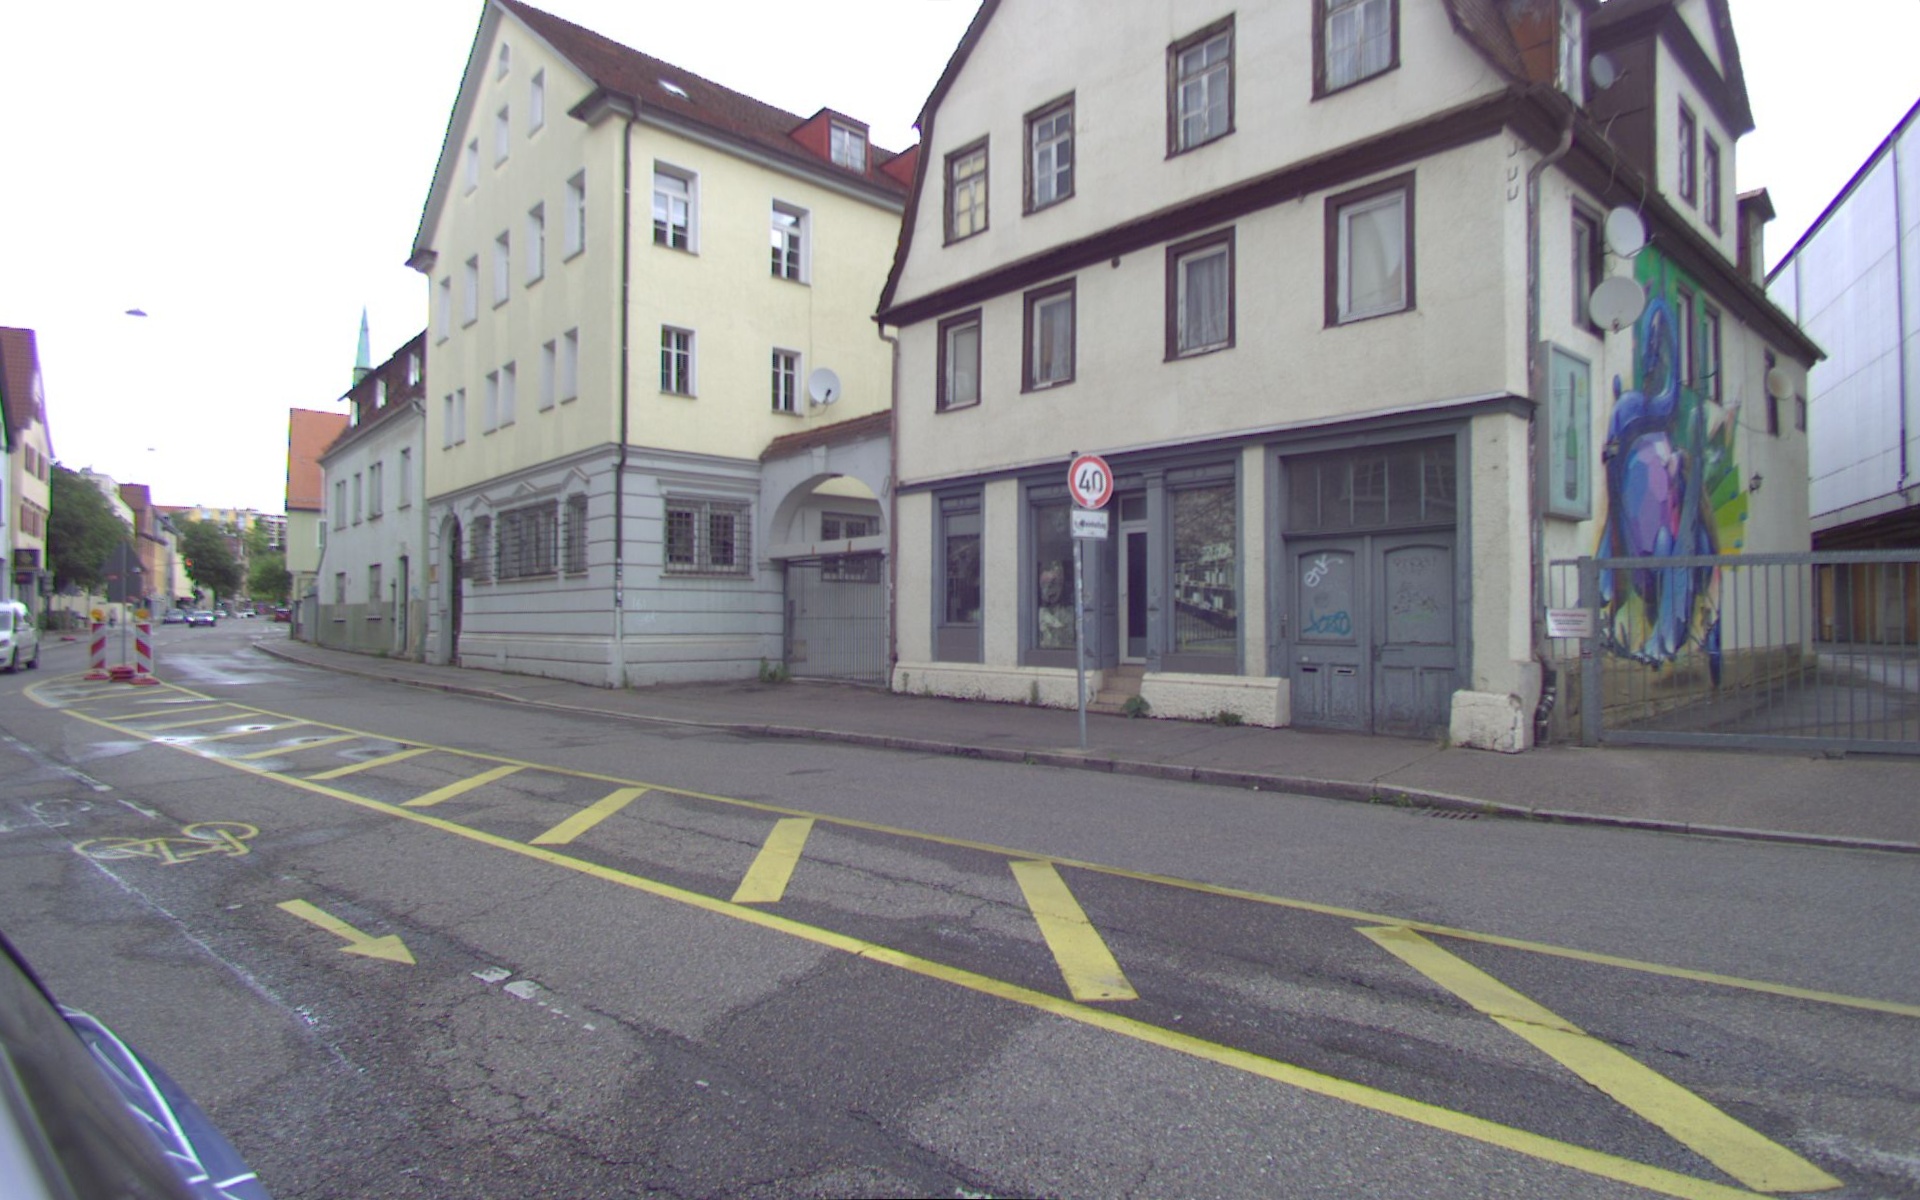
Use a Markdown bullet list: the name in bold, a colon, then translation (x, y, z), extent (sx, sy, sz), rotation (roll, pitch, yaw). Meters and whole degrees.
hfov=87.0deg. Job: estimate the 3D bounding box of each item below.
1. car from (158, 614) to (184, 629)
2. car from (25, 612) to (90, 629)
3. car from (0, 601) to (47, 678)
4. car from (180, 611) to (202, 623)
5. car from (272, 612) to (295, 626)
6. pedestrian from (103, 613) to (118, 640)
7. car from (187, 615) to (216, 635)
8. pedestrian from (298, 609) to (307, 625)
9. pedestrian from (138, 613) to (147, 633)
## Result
- **car**: translation (-84.972, 2.287, 108.993), extent (2.001, 1.567, 4.010), rotation (2, -2, -35)
- **car**: translation (-77.429, 1.738, 86.892), extent (3.932, 1.475, 2.006), rotation (0, 0, -33)
- **car**: translation (-24.529, 0.913, 25.158), extent (1.966, 1.800, 4.480), rotation (2, -1, -33)
- **car**: translation (-96.594, 2.155, 127.202), extent (1.792, 1.399, 4.011), rotation (2, -2, -32)
- **car**: translation (-85.881, 2.449, 128.423), extent (2.178, 1.690, 4.509), rotation (2, -2, -36)
- **pedestrian**: translation (-74.811, 2.352, 89.144), extent (0.888, 2.328, 0.822), rotation (1, -2, -36)
- **car**: translation (-69.142, 2.233, 92.274), extent (1.967, 1.691, 4.010), rotation (0, 0, -34)
- **pedestrian**: translation (-82.080, 2.133, 126.358), extent (0.823, 2.029, 0.847), rotation (1, -2, -36)
- **pedestrian**: translation (-84.418, 2.366, 104.526), extent (0.650, 2.131, 0.647), rotation (1, -2, -39)
